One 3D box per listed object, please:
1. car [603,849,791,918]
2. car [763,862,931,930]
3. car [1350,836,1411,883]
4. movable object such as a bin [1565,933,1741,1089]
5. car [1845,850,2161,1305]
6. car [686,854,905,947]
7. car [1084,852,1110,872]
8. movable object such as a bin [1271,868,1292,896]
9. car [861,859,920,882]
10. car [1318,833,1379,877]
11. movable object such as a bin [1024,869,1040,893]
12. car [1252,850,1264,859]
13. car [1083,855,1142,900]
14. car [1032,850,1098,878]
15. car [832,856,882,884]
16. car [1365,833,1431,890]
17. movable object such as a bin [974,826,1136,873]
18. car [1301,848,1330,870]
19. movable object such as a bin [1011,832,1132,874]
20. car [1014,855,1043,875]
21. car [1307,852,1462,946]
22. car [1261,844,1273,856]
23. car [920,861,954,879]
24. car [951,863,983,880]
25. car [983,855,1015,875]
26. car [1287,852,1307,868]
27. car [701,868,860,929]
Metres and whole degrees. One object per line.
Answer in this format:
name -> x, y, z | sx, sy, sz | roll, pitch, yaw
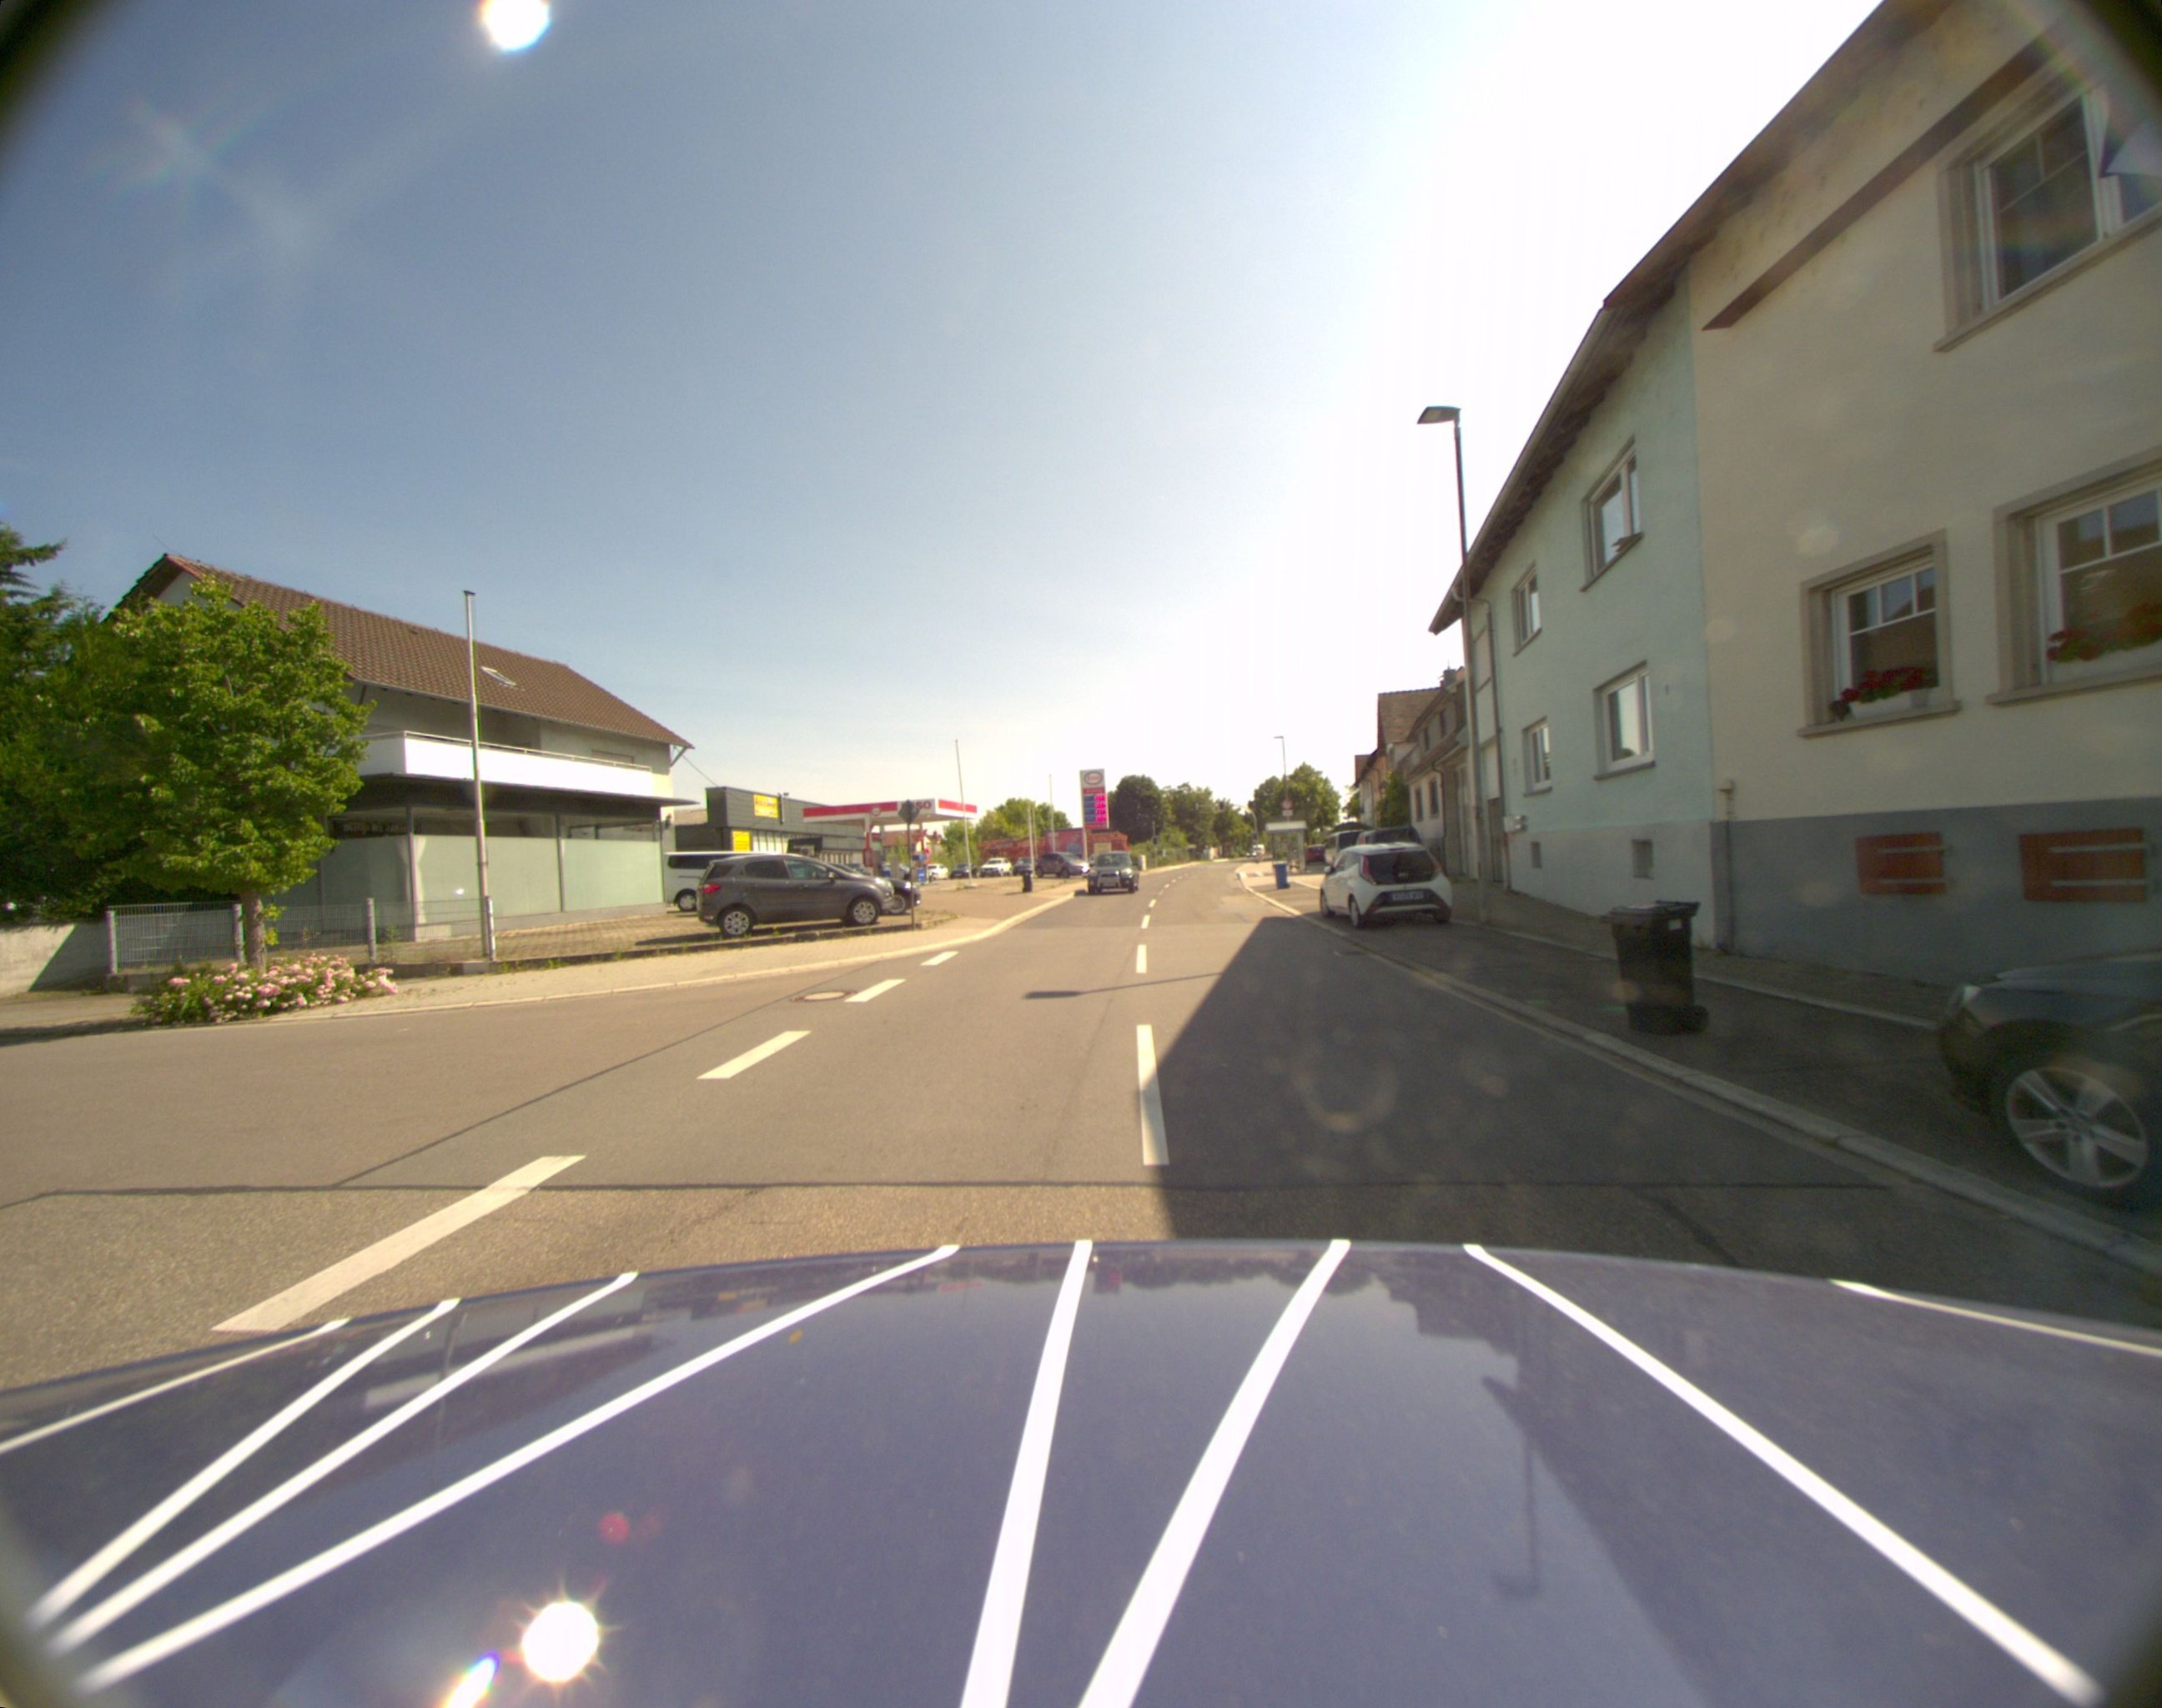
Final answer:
car -> -12.848, 0.952, 25.846 | 5.289, 2.002, 2.229 | -2, 0, -15
car -> -5.947, 0.991, 19.311 | 3.877, 1.438, 1.748 | -2, 0, -22
car -> 12.781, 0.181, 32.656 | 1.970, 1.764, 4.281 | -3, 1, 17
movable object such as a bin -> 4.161, 1.114, 5.591 | 0.553, 0.923, 0.825 | -7, 0, -3
car -> 4.447, 0.772, 1.598 | 1.682, 1.429, 3.996 | -6, 0, 3
car -> -6.096, 0.899, 16.273 | 4.119, 1.643, 1.827 | -2, 0, -28
car -> 1.444, 0.737, 68.278 | 1.807, 1.676, 4.372 | -1, -1, 7
movable object such as a bin -> 7.160, 1.009, 27.169 | 0.559, 0.931, 0.514 | -5, 0, 1
car -> -15.465, 1.349, 61.792 | 4.148, 1.624, 1.812 | -2, 1, 7
car -> 14.318, 0.003, 40.975 | 2.130, 1.974, 5.269 | -8, 0, 11
movable object such as a bin -> -1.971, 1.072, 30.320 | 0.559, 0.931, 0.514 | -2, 1, 1
car -> 34.300, 0.004, 146.823 | 1.843, 1.583, 4.111 | -2, 0, 18
car -> 1.339, 0.898, 30.399 | 1.847, 1.686, 4.402 | 0, -1, 9
car -> -1.039, 0.629, 47.028 | 1.778, 1.546, 4.171 | -3, 0, -40
car -> -15.323, 1.114, 52.272 | 1.808, 1.730, 4.820 | -3, -1, 1
car -> 11.492, 0.217, 27.779 | 1.839, 1.782, 4.348 | -5, -1, 20
movable object such as a bin -> -2.667, -0.416, 77.510 | 16.079, 3.995, 2.776 | -2, 0, 11
car -> 17.482, 0.394, 56.803 | 1.717, 1.444, 3.919 | -4, -1, 13
movable object such as a bin -> -1.049, -0.133, 86.072 | 13.276, 4.141, 2.865 | -2, 0, 11
car -> -4.617, 0.931, 67.773 | 1.845, 1.583, 4.107 | -2, 0, 5
car -> 5.618, 0.762, 14.547 | 1.687, 1.453, 3.650 | -3, 0, 5
car -> 38.226, -0.847, 156.330 | 1.936, 2.488, 5.845 | -2, 0, 18
car -> -13.001, 1.428, 68.839 | 1.845, 1.379, 4.377 | -2, 0, 5
car -> -10.101, 1.534, 67.504 | 1.845, 1.379, 4.001 | -2, 0, 5
car -> -7.303, 0.967, 68.039 | 2.003, 1.583, 4.340 | -2, 0, 5
car -> 20.948, 0.566, 73.802 | 1.717, 1.399, 4.402 | -2, 1, 15
car -> -9.216, 1.293, 23.386 | 4.322, 1.541, 1.980 | -2, 0, -25
